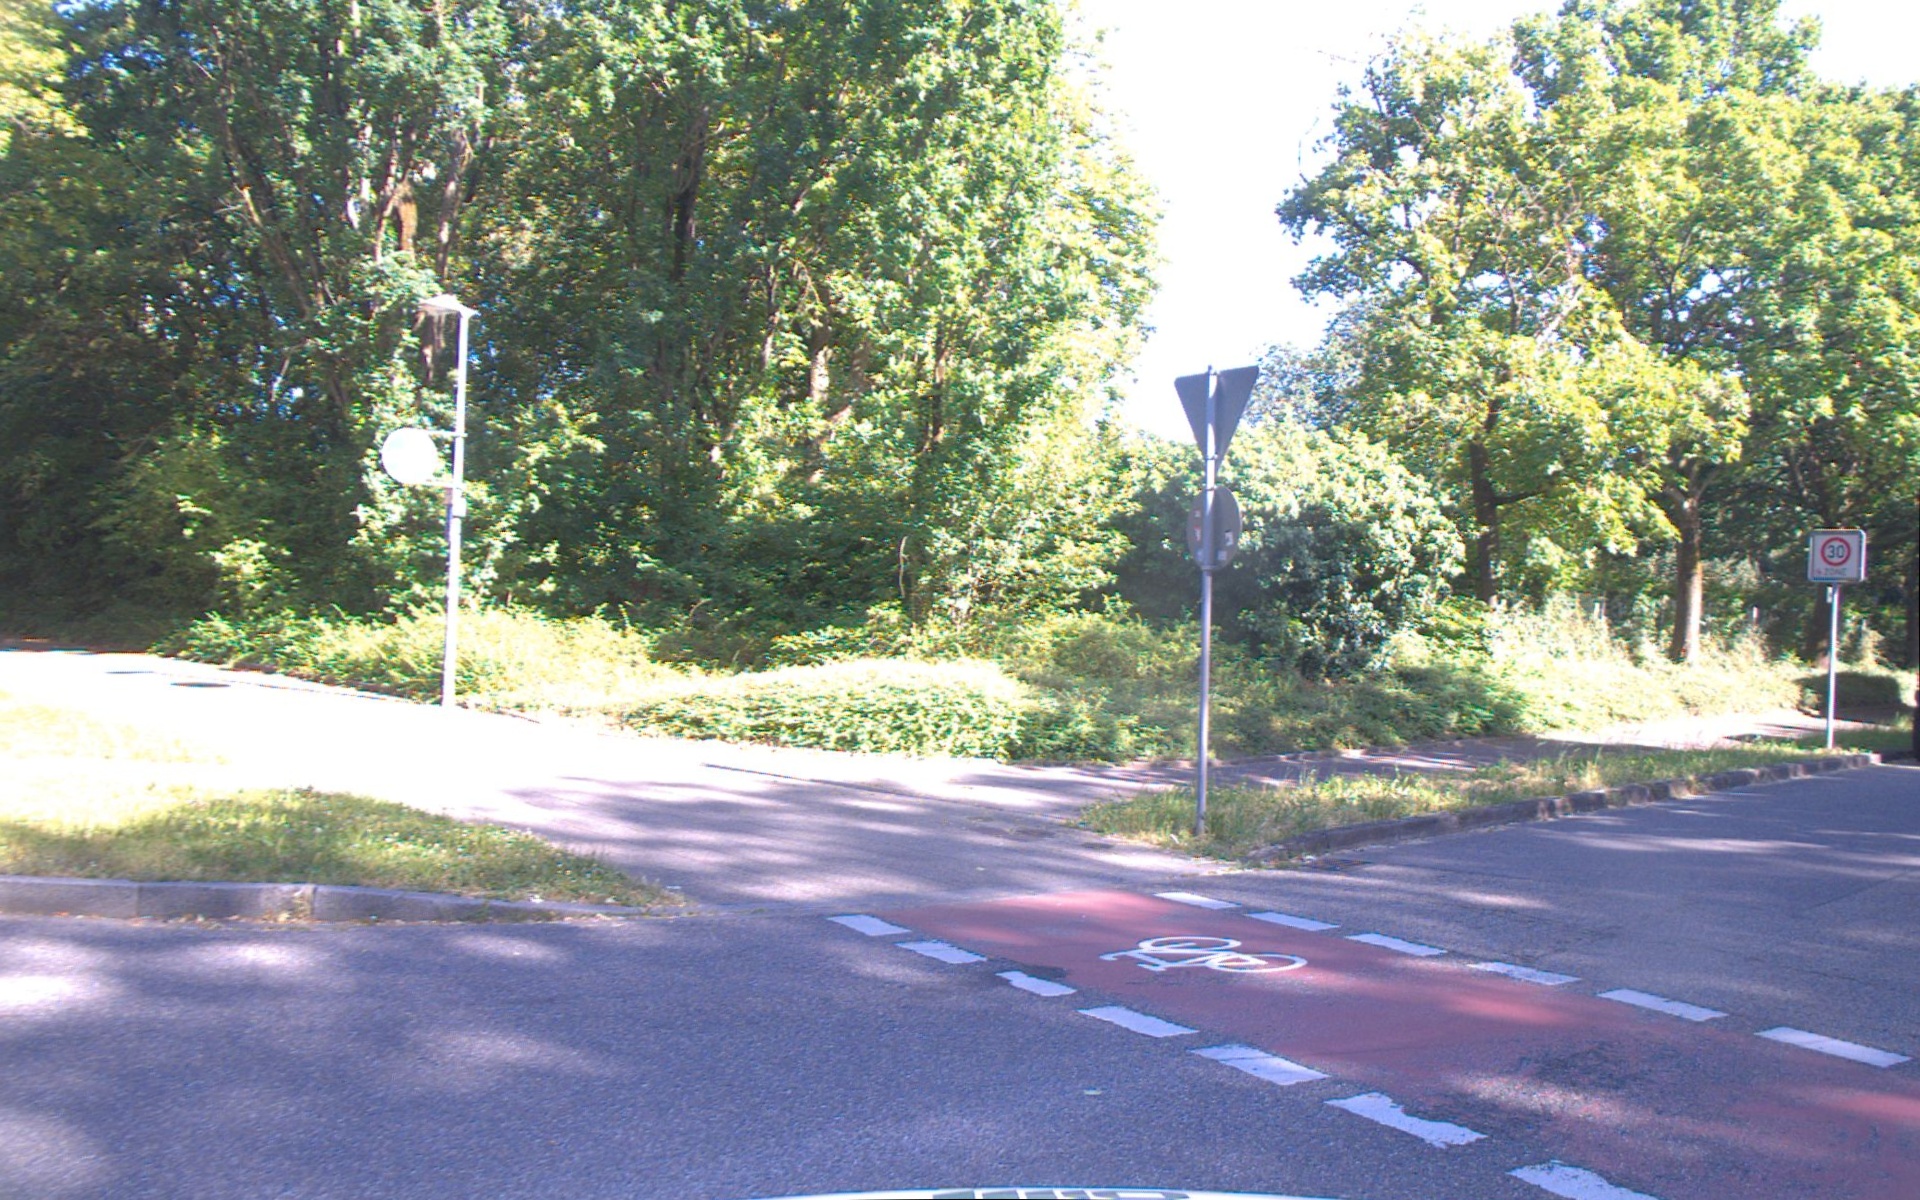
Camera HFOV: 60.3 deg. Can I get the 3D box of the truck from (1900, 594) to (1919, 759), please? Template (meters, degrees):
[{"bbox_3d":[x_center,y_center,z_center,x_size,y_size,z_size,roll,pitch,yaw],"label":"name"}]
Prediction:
[{"bbox_3d":[15.210,1.085,23.265,2.083,2.131,6.606,1,-1,42],"label":"truck"}]
